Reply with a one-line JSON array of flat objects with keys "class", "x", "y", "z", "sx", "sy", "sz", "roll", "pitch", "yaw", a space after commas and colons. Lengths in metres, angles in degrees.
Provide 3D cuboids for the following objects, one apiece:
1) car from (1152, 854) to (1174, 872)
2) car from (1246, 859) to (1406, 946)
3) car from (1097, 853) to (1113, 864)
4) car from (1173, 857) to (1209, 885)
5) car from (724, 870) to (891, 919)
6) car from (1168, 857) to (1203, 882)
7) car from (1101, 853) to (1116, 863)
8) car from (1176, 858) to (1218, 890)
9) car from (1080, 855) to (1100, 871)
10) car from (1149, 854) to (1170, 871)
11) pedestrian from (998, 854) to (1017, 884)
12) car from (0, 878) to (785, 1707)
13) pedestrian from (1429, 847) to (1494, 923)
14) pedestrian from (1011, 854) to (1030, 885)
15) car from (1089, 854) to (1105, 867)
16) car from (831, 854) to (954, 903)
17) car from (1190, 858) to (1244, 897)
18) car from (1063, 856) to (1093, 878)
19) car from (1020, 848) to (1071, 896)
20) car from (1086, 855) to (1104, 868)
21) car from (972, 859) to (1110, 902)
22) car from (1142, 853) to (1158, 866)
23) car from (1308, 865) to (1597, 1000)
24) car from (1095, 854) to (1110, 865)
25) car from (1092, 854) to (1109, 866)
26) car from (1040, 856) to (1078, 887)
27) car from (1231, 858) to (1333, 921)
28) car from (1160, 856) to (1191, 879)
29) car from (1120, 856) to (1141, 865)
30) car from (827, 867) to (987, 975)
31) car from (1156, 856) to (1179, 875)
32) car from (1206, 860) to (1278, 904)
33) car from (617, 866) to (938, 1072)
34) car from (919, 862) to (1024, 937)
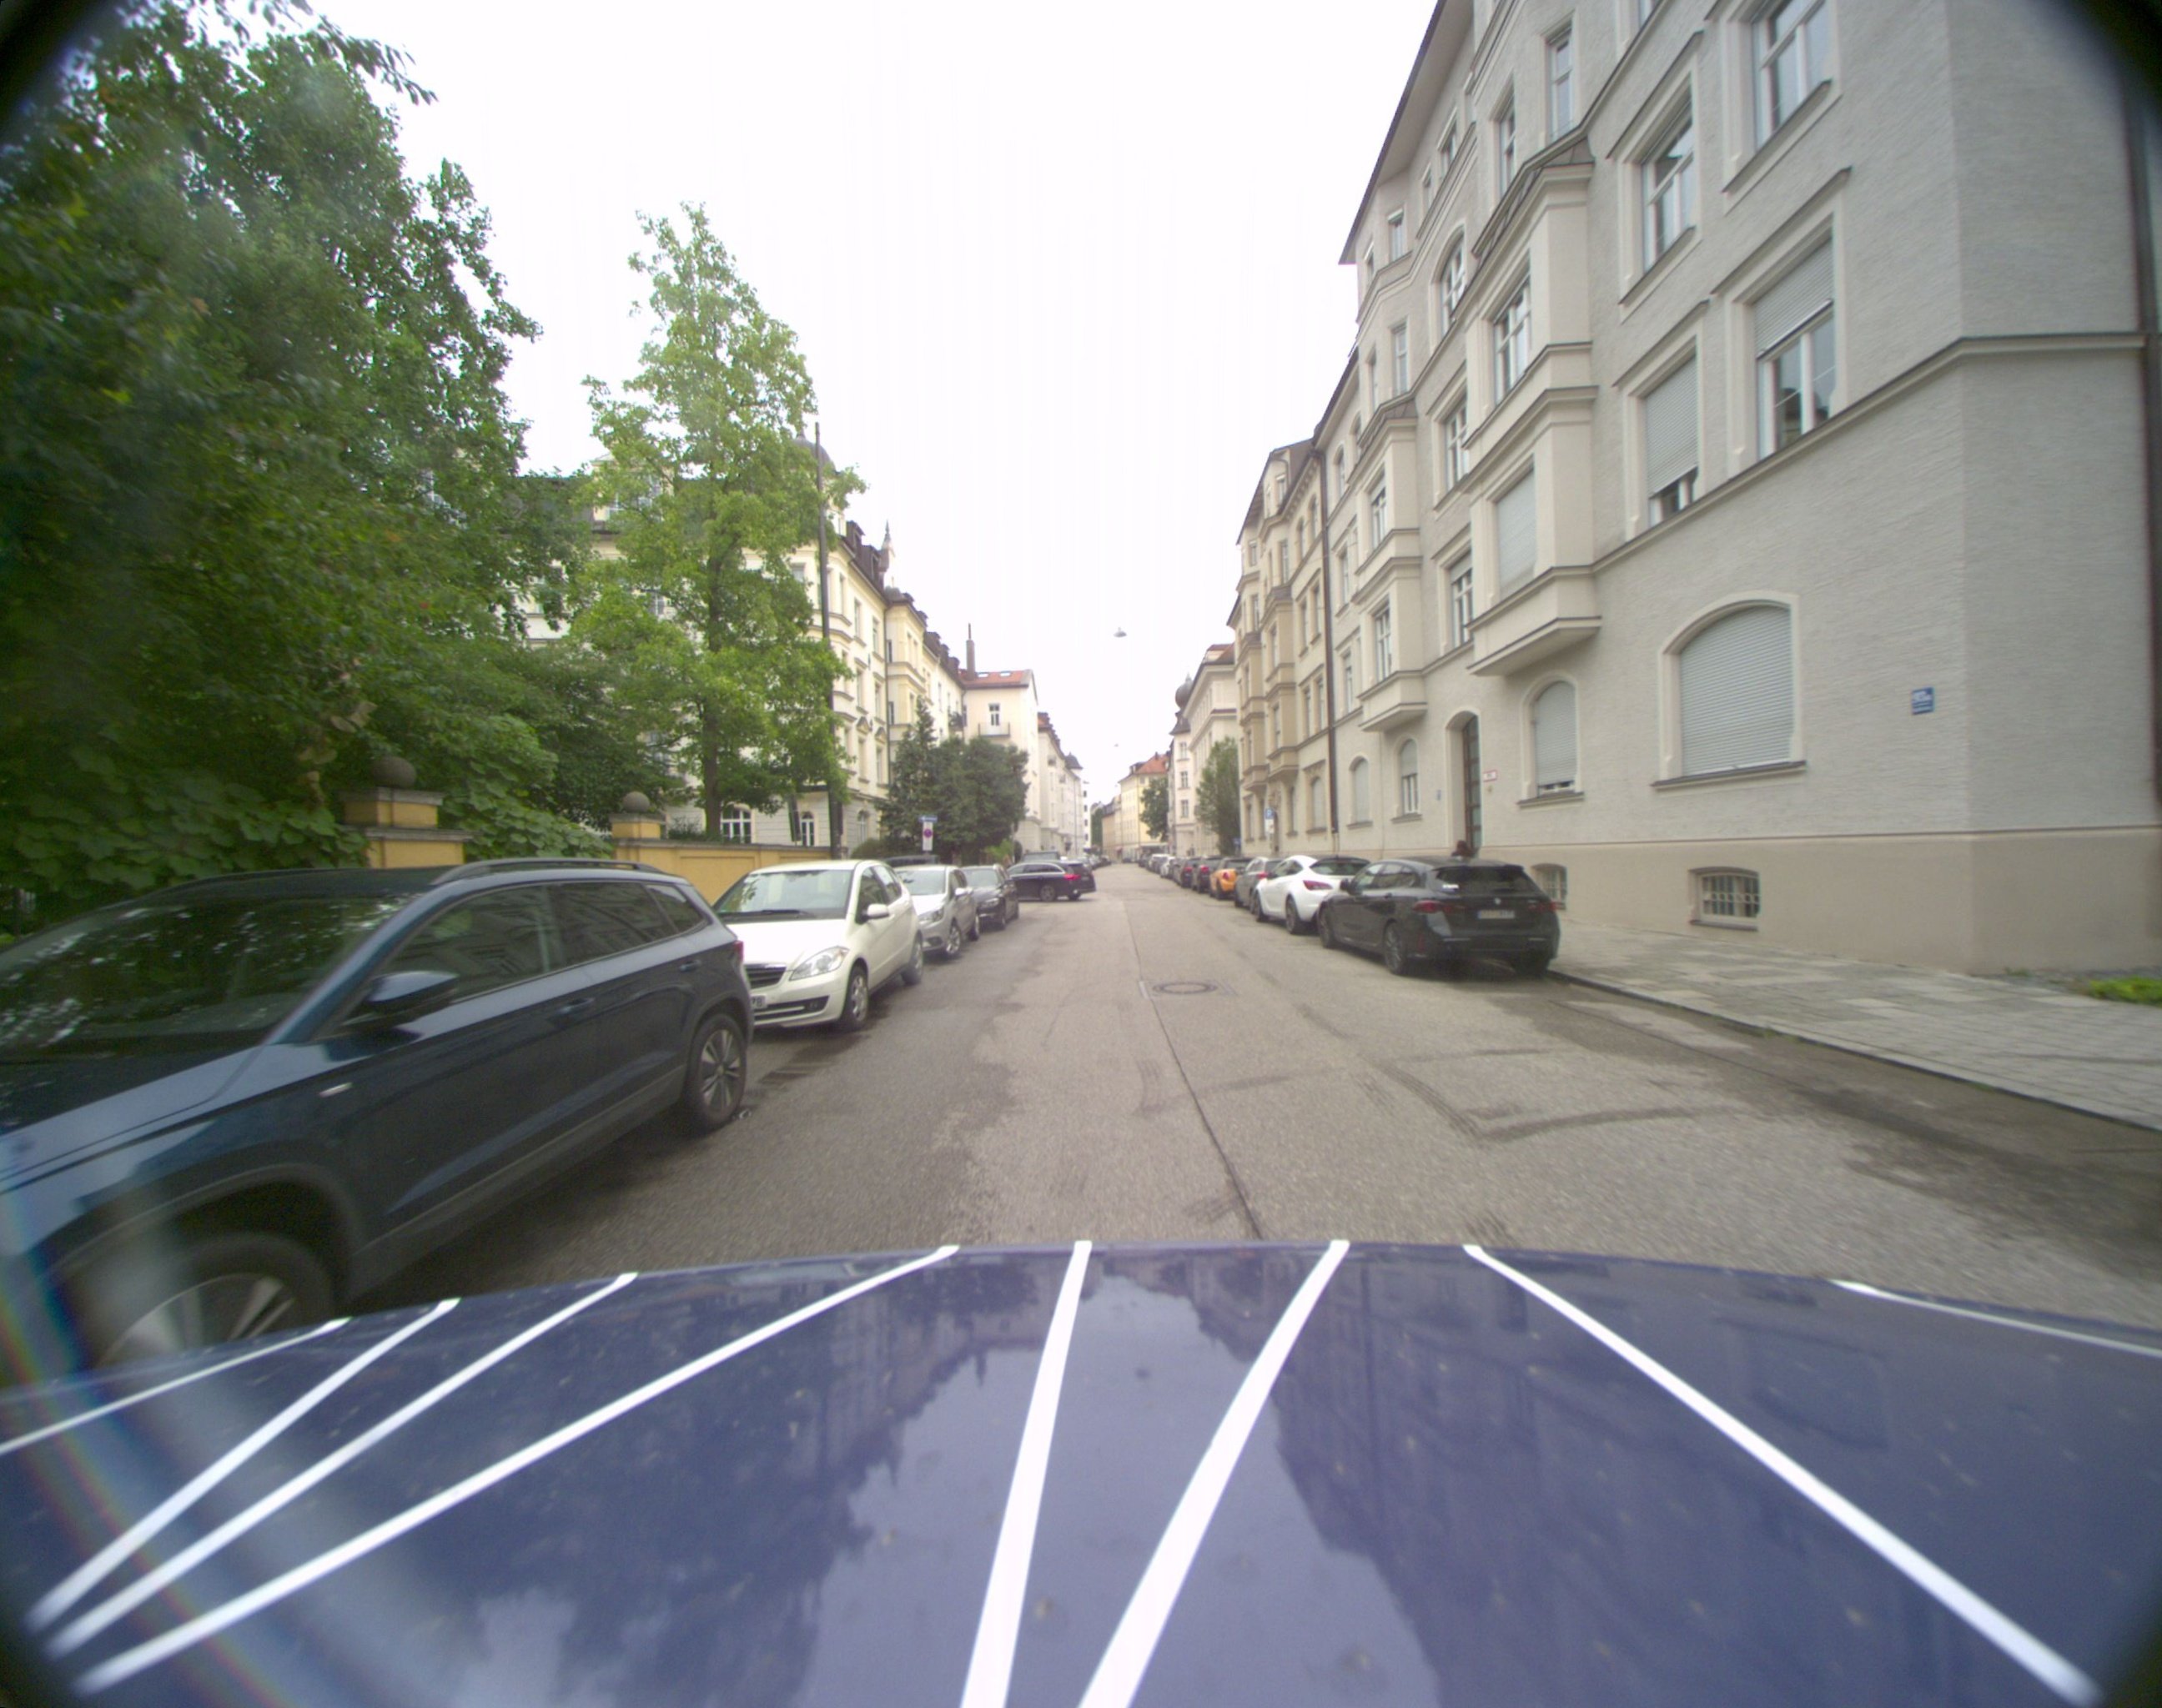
[{"class": "car", "x": 7.085, "y": 0.742, "z": 66.188, "sx": 1.627, "sy": 1.522, "sz": 3.690, "roll": -1, "pitch": 0, "yaw": 2}, {"class": "car", "x": 4.739, "y": 0.866, "z": 15.431, "sx": 1.860, "sy": 1.455, "sz": 4.379, "roll": -1, "pitch": 0, "yaw": 0}, {"class": "car", "x": 3.964, "y": 0.693, "z": 123.726, "sx": 1.997, "sy": 1.585, "sz": 4.301, "roll": -5, "pitch": -1, "yaw": 7}, {"class": "car", "x": 5.938, "y": 0.872, "z": 41.181, "sx": 1.626, "sy": 1.421, "sz": 3.589, "roll": -1, "pitch": 0, "yaw": 4}, {"class": "car", "x": -9.095, "y": 1.321, "z": 25.579, "sx": 4.954, "sy": 1.404, "sz": 1.742, "roll": -2, "pitch": 0, "yaw": -5}, {"class": "car", "x": 6.332, "y": 0.909, "z": 46.354, "sx": 1.627, "sy": 1.421, "sz": 3.689, "roll": -1, "pitch": 0, "yaw": 0}, {"class": "car", "x": 4.863, "y": 0.707, "z": 132.563, "sx": 1.997, "sy": 1.585, "sz": 4.301, "roll": -5, "pitch": -1, "yaw": 9}, {"class": "car", "x": 5.493, "y": 0.919, "z": 36.281, "sx": 1.626, "sy": 1.421, "sz": 3.942, "roll": -1, "pitch": 0, "yaw": 4}, {"class": "car", "x": 1.054, "y": 1.031, "z": 88.043, "sx": 1.998, "sy": 1.585, "sz": 4.300, "roll": -5, "pitch": -1, "yaw": 4}, {"class": "car", "x": 7.371, "y": 0.810, "z": 71.624, "sx": 1.627, "sy": 1.522, "sz": 3.921, "roll": -1, "pitch": 0, "yaw": 2}, {"class": "pedestrian", "x": -4.228, "y": 0.875, "z": 43.652, "sx": 0.876, "sy": 1.680, "sz": 1.052, "roll": -2, "pitch": 1, "yaw": 1}, {"class": "car", "x": -3.004, "y": 0.976, "z": 3.038, "sx": 1.717, "sy": 1.561, "sz": 4.691, "roll": -2, "pitch": 0, "yaw": 0}, {"class": "pedestrian", "x": 8.366, "y": 0.653, "z": 16.752, "sx": 0.876, "sy": 1.599, "sz": 1.052, "roll": -2, "pitch": 1, "yaw": 1}, {"class": "pedestrian", "x": -3.461, "y": 0.869, "z": 43.500, "sx": 0.876, "sy": 1.745, "sz": 1.052, "roll": -2, "pitch": 1, "yaw": 1}, {"class": "car", "x": 2.278, "y": 0.918, "z": 108.340, "sx": 1.998, "sy": 1.585, "sz": 4.300, "roll": -5, "pitch": -1, "yaw": 4}, {"class": "car", "x": -7.728, "y": 1.026, "z": 31.498, "sx": 4.678, "sy": 1.860, "sz": 1.743, "roll": -2, "pitch": -2, "yaw": -3}, {"class": "car", "x": 5.419, "y": 0.887, "z": 30.625, "sx": 1.626, "sy": 1.447, "sz": 3.942, "roll": -1, "pitch": 0, "yaw": 3}, {"class": "car", "x": -0.200, "y": 1.031, "z": 63.211, "sx": 1.998, "sy": 1.585, "sz": 4.300, "roll": -5, "pitch": -1, "yaw": 4}, {"class": "car", "x": -1.616, "y": 0.803, "z": 35.886, "sx": 1.998, "sy": 1.949, "sz": 4.433, "roll": -5, "pitch": -1, "yaw": 0}, {"class": "car", "x": 1.830, "y": 0.953, "z": 98.749, "sx": 1.998, "sy": 1.585, "sz": 4.300, "roll": -5, "pitch": -1, "yaw": 4}, {"class": "car", "x": -1.445, "y": 0.952, "z": 27.020, "sx": 4.570, "sy": 1.405, "sz": 1.796, "roll": -2, "pitch": 0, "yaw": 25}, {"class": "car", "x": 8.415, "y": 0.704, "z": 92.781, "sx": 1.627, "sy": 1.522, "sz": 3.921, "roll": -1, "pitch": 0, "yaw": 2}, {"class": "car", "x": 4.682, "y": 0.882, "z": 10.434, "sx": 1.860, "sy": 1.404, "sz": 4.379, "roll": 0, "pitch": 0, "yaw": 0}, {"class": "car", "x": 3.400, "y": 0.851, "z": 118.872, "sx": 1.998, "sy": 1.585, "sz": 4.429, "roll": -5, "pitch": -1, "yaw": 5}, {"class": "car", "x": 2.947, "y": 0.861, "z": 113.451, "sx": 1.998, "sy": 1.672, "sz": 4.300, "roll": -5, "pitch": -1, "yaw": 5}, {"class": "car", "x": -1.277, "y": 1.024, "z": 46.068, "sx": 1.998, "sy": 1.643, "sz": 4.449, "roll": -5, "pitch": -1, "yaw": 1}, {"class": "car", "x": 5.156, "y": 0.854, "z": 19.985, "sx": 1.809, "sy": 1.455, "sz": 3.938, "roll": -1, "pitch": 0, "yaw": 3}, {"class": "car", "x": 6.299, "y": 0.894, "z": 50.790, "sx": 1.627, "sy": 1.421, "sz": 3.689, "roll": -1, "pitch": 0, "yaw": 0}, {"class": "car", "x": 9.543, "y": 1.246, "z": 147.910, "sx": 2.003, "sy": 1.641, "sz": 3.990, "roll": -2, "pitch": 0, "yaw": -34}, {"class": "car", "x": -2.776, "y": 1.010, "z": 13.106, "sx": 1.717, "sy": 1.445, "sz": 4.184, "roll": -2, "pitch": 0, "yaw": 0}, {"class": "car", "x": 6.972, "y": 0.900, "z": 61.402, "sx": 1.626, "sy": 1.421, "sz": 3.690, "roll": -1, "pitch": 0, "yaw": 4}, {"class": "car", "x": 5.348, "y": 0.894, "z": 25.698, "sx": 1.809, "sy": 1.355, "sz": 3.730, "roll": -1, "pitch": 0, "yaw": 3}, {"class": "car", "x": -2.887, "y": 0.977, "z": 8.368, "sx": 1.717, "sy": 1.561, "sz": 4.320, "roll": -2, "pitch": 0, "yaw": 0}, {"class": "car", "x": -2.431, "y": 0.964, "z": 18.076, "sx": 1.717, "sy": 1.445, "sz": 4.955, "roll": -2, "pitch": 0, "yaw": 0}]
